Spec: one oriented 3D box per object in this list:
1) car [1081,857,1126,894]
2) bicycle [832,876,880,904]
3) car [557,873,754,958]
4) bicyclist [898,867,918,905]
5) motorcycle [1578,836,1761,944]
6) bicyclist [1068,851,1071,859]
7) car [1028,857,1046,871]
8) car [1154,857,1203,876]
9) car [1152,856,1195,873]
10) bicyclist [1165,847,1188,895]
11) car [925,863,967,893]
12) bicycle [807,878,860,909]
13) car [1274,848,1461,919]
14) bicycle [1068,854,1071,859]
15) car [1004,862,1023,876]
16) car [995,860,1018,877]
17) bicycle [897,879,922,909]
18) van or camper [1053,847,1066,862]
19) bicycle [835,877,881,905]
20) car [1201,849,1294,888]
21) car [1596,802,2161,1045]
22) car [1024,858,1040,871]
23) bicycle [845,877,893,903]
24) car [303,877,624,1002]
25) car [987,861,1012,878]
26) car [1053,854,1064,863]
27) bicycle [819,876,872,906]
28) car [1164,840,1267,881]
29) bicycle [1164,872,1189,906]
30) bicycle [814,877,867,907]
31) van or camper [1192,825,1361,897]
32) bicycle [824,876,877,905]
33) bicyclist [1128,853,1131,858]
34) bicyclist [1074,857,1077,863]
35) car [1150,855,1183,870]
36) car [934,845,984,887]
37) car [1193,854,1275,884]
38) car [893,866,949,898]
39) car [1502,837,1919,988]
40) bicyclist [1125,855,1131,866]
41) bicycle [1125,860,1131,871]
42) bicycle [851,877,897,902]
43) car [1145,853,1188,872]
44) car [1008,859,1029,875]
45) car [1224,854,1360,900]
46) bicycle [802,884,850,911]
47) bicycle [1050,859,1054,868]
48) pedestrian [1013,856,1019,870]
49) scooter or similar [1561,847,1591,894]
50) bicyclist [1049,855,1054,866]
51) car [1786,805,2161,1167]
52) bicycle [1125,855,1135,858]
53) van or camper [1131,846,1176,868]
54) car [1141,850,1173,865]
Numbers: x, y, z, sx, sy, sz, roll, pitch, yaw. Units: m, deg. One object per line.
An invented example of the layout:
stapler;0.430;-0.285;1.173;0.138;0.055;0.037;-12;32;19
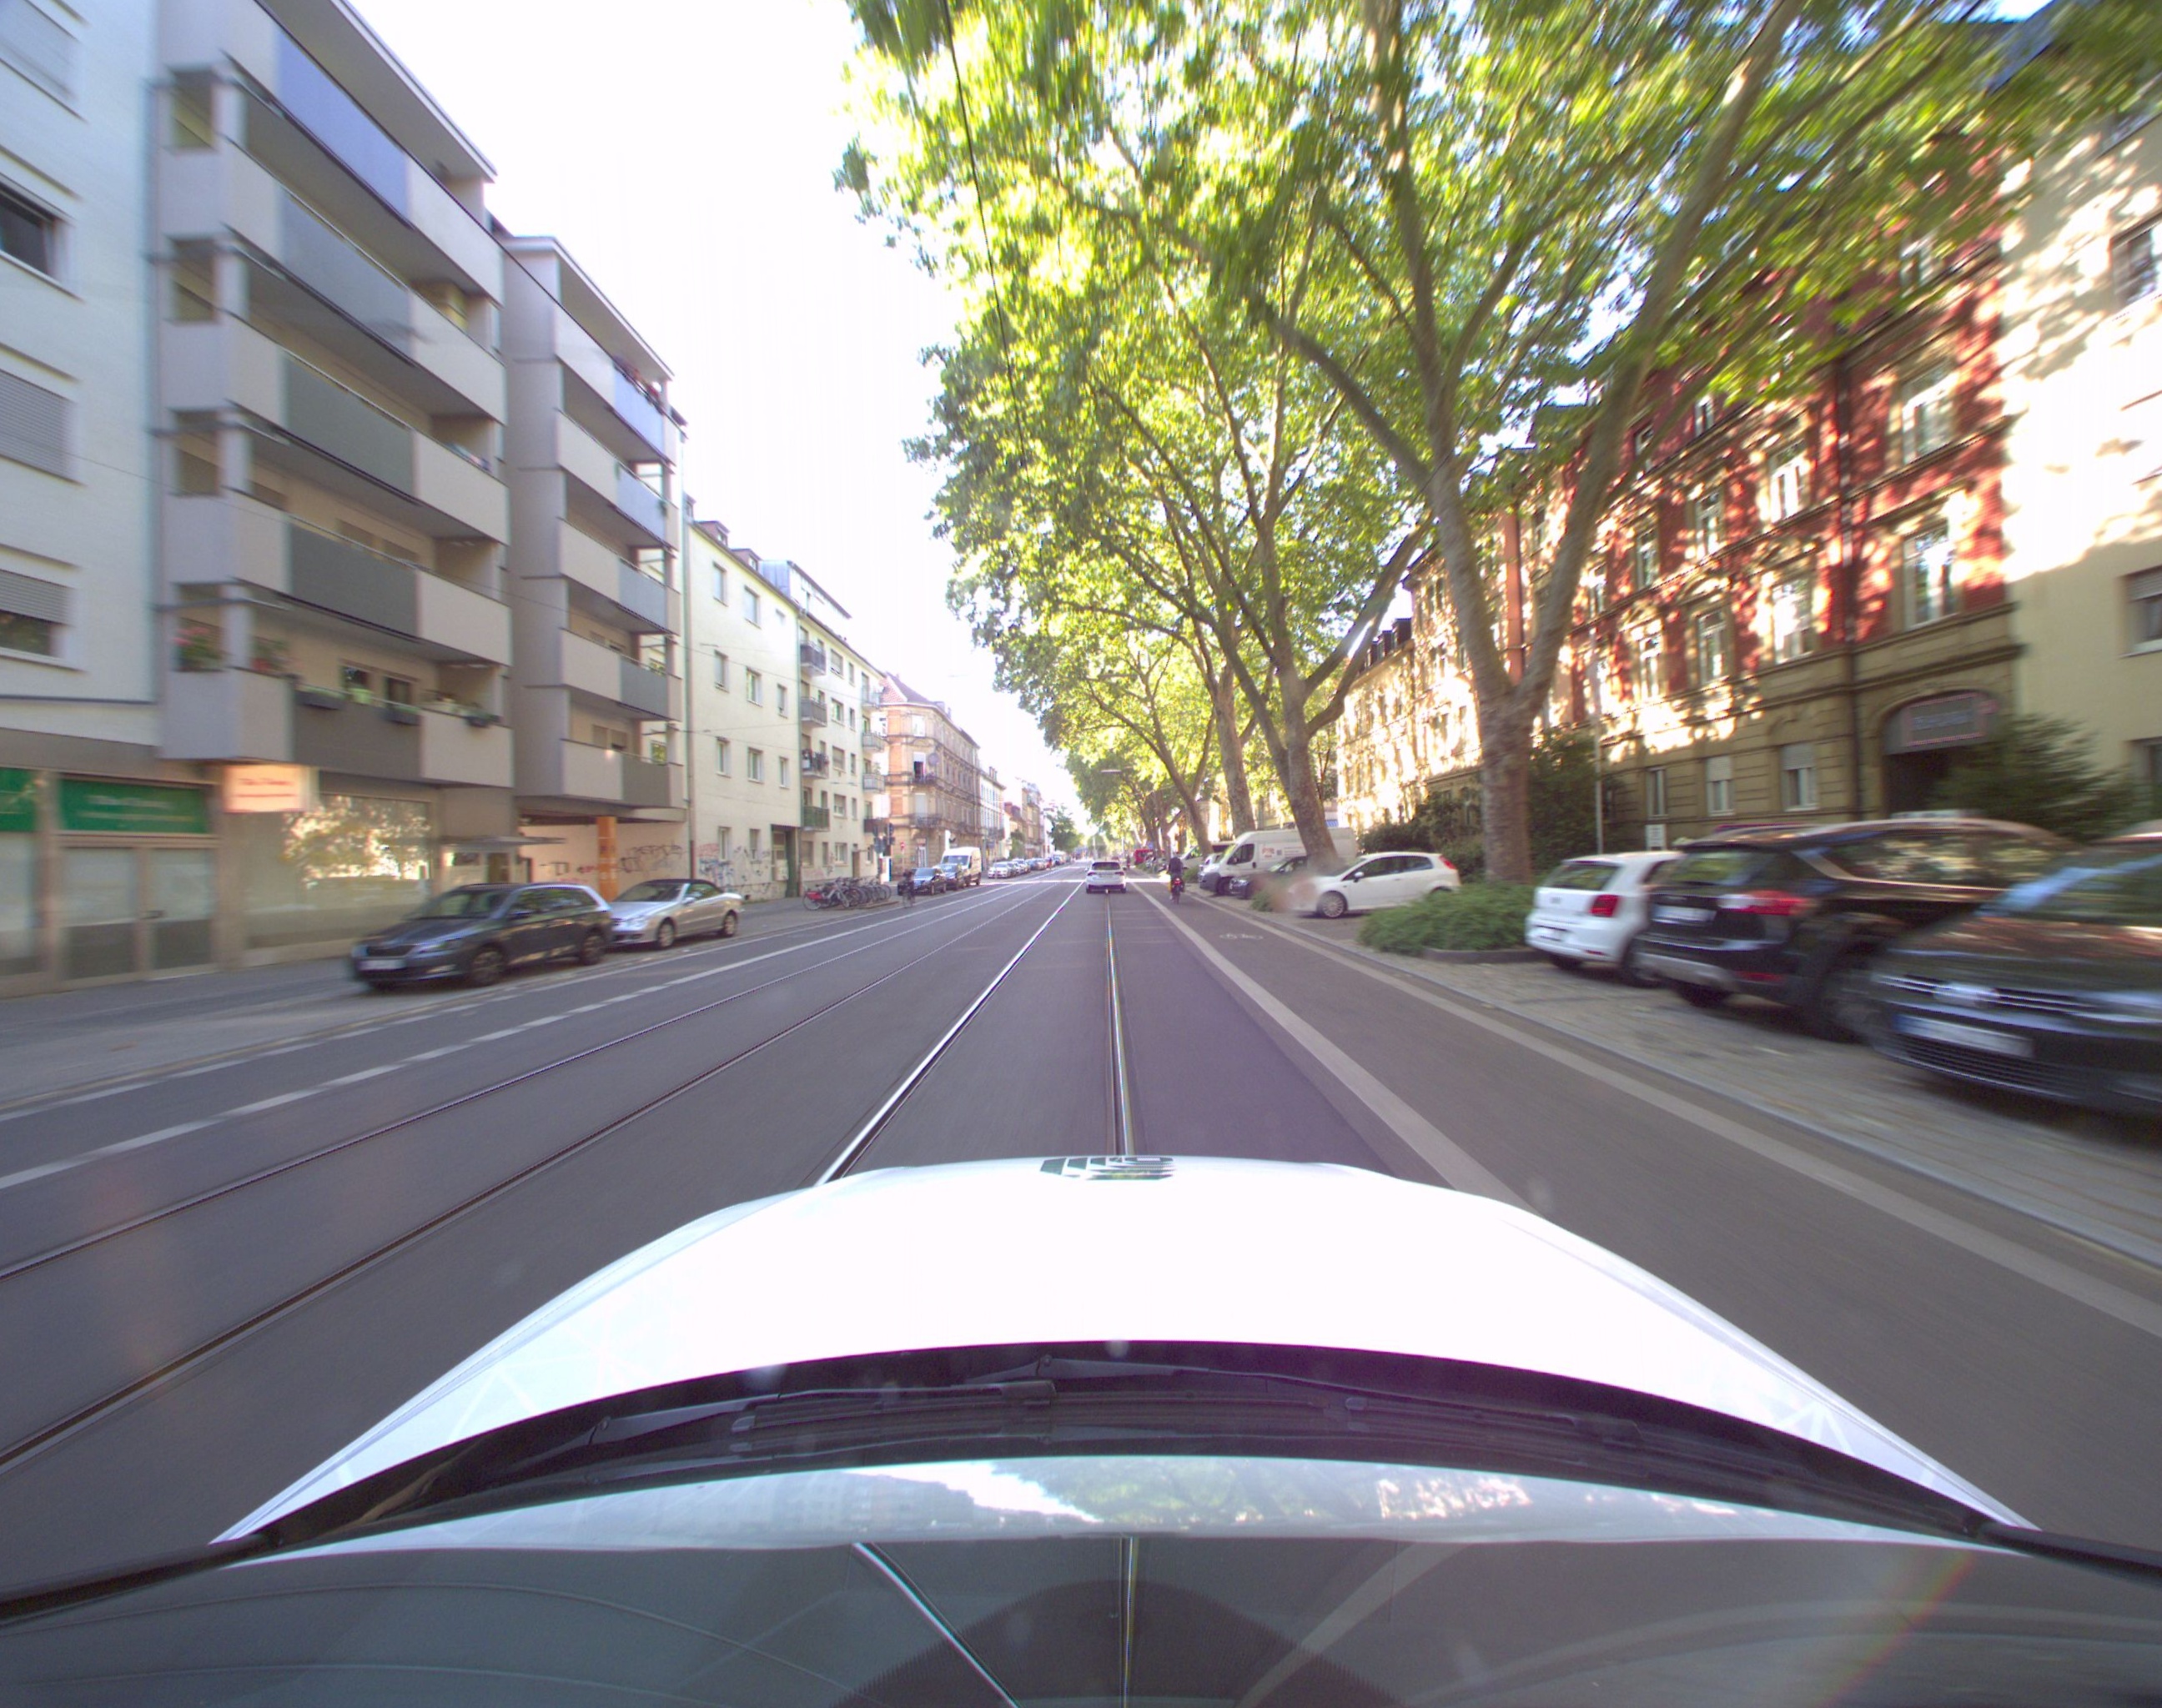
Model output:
car;0.932;0.908;35.870;1.836;1.480;3.837;-1;0;0
bicycle;-8.993;1.435;32.564;1.808;1.119;0.425;0;-1;8
car;-9.178;1.251;18.088;1.683;1.491;4.731;-2;0;2
bicyclist;-6.517;1.199;30.758;0.507;1.394;0.709;-4;-1;1
motorcycle;9.096;0.509;12.810;0.837;1.479;2.819;-2;0;1
bicyclist;-2.468;0.223;175.287;0.471;1.636;0.800;-2;0;3
car;-5.984;1.350;110.389;1.849;1.703;4.766;-2;0;3
car;8.570;1.096;72.053;4.084;1.491;1.830;-2;0;-1
car;9.186;1.001;80.967;4.014;1.480;1.681;-3;0;0
bicyclist;3.152;0.559;26.991;0.612;1.552;0.936;3;0;2
car;-7.920;1.362;48.115;1.713;1.631;4.347;-2;0;0
bicycle;-9.184;1.459;30.223;1.883;1.119;0.403;0;-1;8
car;6.856;0.694;19.810;3.937;1.480;1.690;-3;0;3
bicycle;-2.465;0.506;175.059;0.479;1.086;1.847;-2;0;3
car;-7.002;1.528;84.735;1.695;1.420;3.996;0;0;-2
car;-7.240;1.431;79.829;1.735;1.562;4.786;0;0;1
bicycle;-6.494;1.510;30.829;0.415;1.018;1.947;-3;0;2
van or camper;-4.597;0.189;177.414;2.207;3.140;7.120;-1;0;4
bicycle;-8.994;1.479;32.848;1.779;1.119;0.425;0;-1;8
car;7.803;0.685;38.348;3.944;1.655;1.795;-2;-1;-2
car;7.038;0.513;7.053;3.979;1.745;1.806;-2;0;1
car;-6.313;1.381;105.474;1.547;1.515;3.928;-2;0;4
bicycle;-8.791;1.483;33.804;1.883;1.038;0.403;0;-1;8
car;-9.377;1.193;12.924;1.788;1.491;4.240;-2;0;0
car;-7.394;1.384;74.143;1.735;1.492;4.045;0;0;1
car;-4.335;0.911;158.666;1.958;1.781;4.937;1;0;0
bicycle;-9.067;1.429;31.391;1.950;1.119;0.440;0;-1;8
car;8.198;0.387;50.052;5.966;2.282;2.008;-2;0;3
bicycle;3.127;1.140;26.895;0.593;1.004;2.512;1;0;2
bicycle;-9.106;1.427;30.853;1.920;1.119;0.440;0;-1;8
van or camper;7.487;0.256;31.652;6.012;2.491;2.107;-2;-1;0
bicycle;-9.019;1.431;31.877;1.957;1.119;0.425;0;-1;8
bicyclist;13.735;0.398;229.202;0.731;1.589;0.589;-2;0;14
bicyclist;-1.460;1.645;222.952;0.635;1.503;1.070;-3;-1;3
car;9.834;0.993;93.794;3.581;1.599;1.541;-2;-1;2
car;-7.953;0.771;53.806;2.056;2.535;5.672;-2;0;3
car;8.141;0.780;43.664;4.041;1.460;1.796;-2;0;0
car;-8.181;1.402;42.122;1.711;1.456;4.576;-2;0;3
car;7.183;0.630;9.556;3.597;1.495;1.660;-2;0;-1
bicyclist;5.495;0.790;95.733;0.676;1.339;0.525;0;-1;2
bicycle;5.520;1.339;95.788;0.677;1.155;2.966;0;0;2
bicycle;-8.749;1.510;34.414;1.883;1.038;0.403;0;-1;8
car;9.114;0.882;86.860;4.249;1.719;1.848;-4;0;-1
car;-6.830;1.452;90.032;1.779;1.723;4.720;0;0;2
car;7.416;0.782;28.925;4.373;1.552;1.783;0;0;0
bicycle;-9.265;1.583;29.635;1.621;0.917;0.400;0;-1;-15
bicycle;-4.006;1.348;112.869;0.419;1.150;2.232;-3;-1;1
pedestrian;-9.514;1.349;119.210;0.757;2.013;0.830;-2;0;0
scooter or similar;13.172;0.434;21.695;0.273;1.224;1.126;-2;0;11
bicyclist;-4.047;0.866;112.846;0.580;1.482;0.807;-3;-1;1
car;6.925;0.546;4.671;4.279;1.652;1.742;-2;0;-2
bicycle;13.724;0.708;229.175;2.748;0.999;0.595;-1;-1;16
van or camper;9.863;0.386;110.509;5.797;2.519;2.287;-4;1;-1
car;9.868;0.445;106.025;3.807;1.649;1.766;-3;-2;-1
